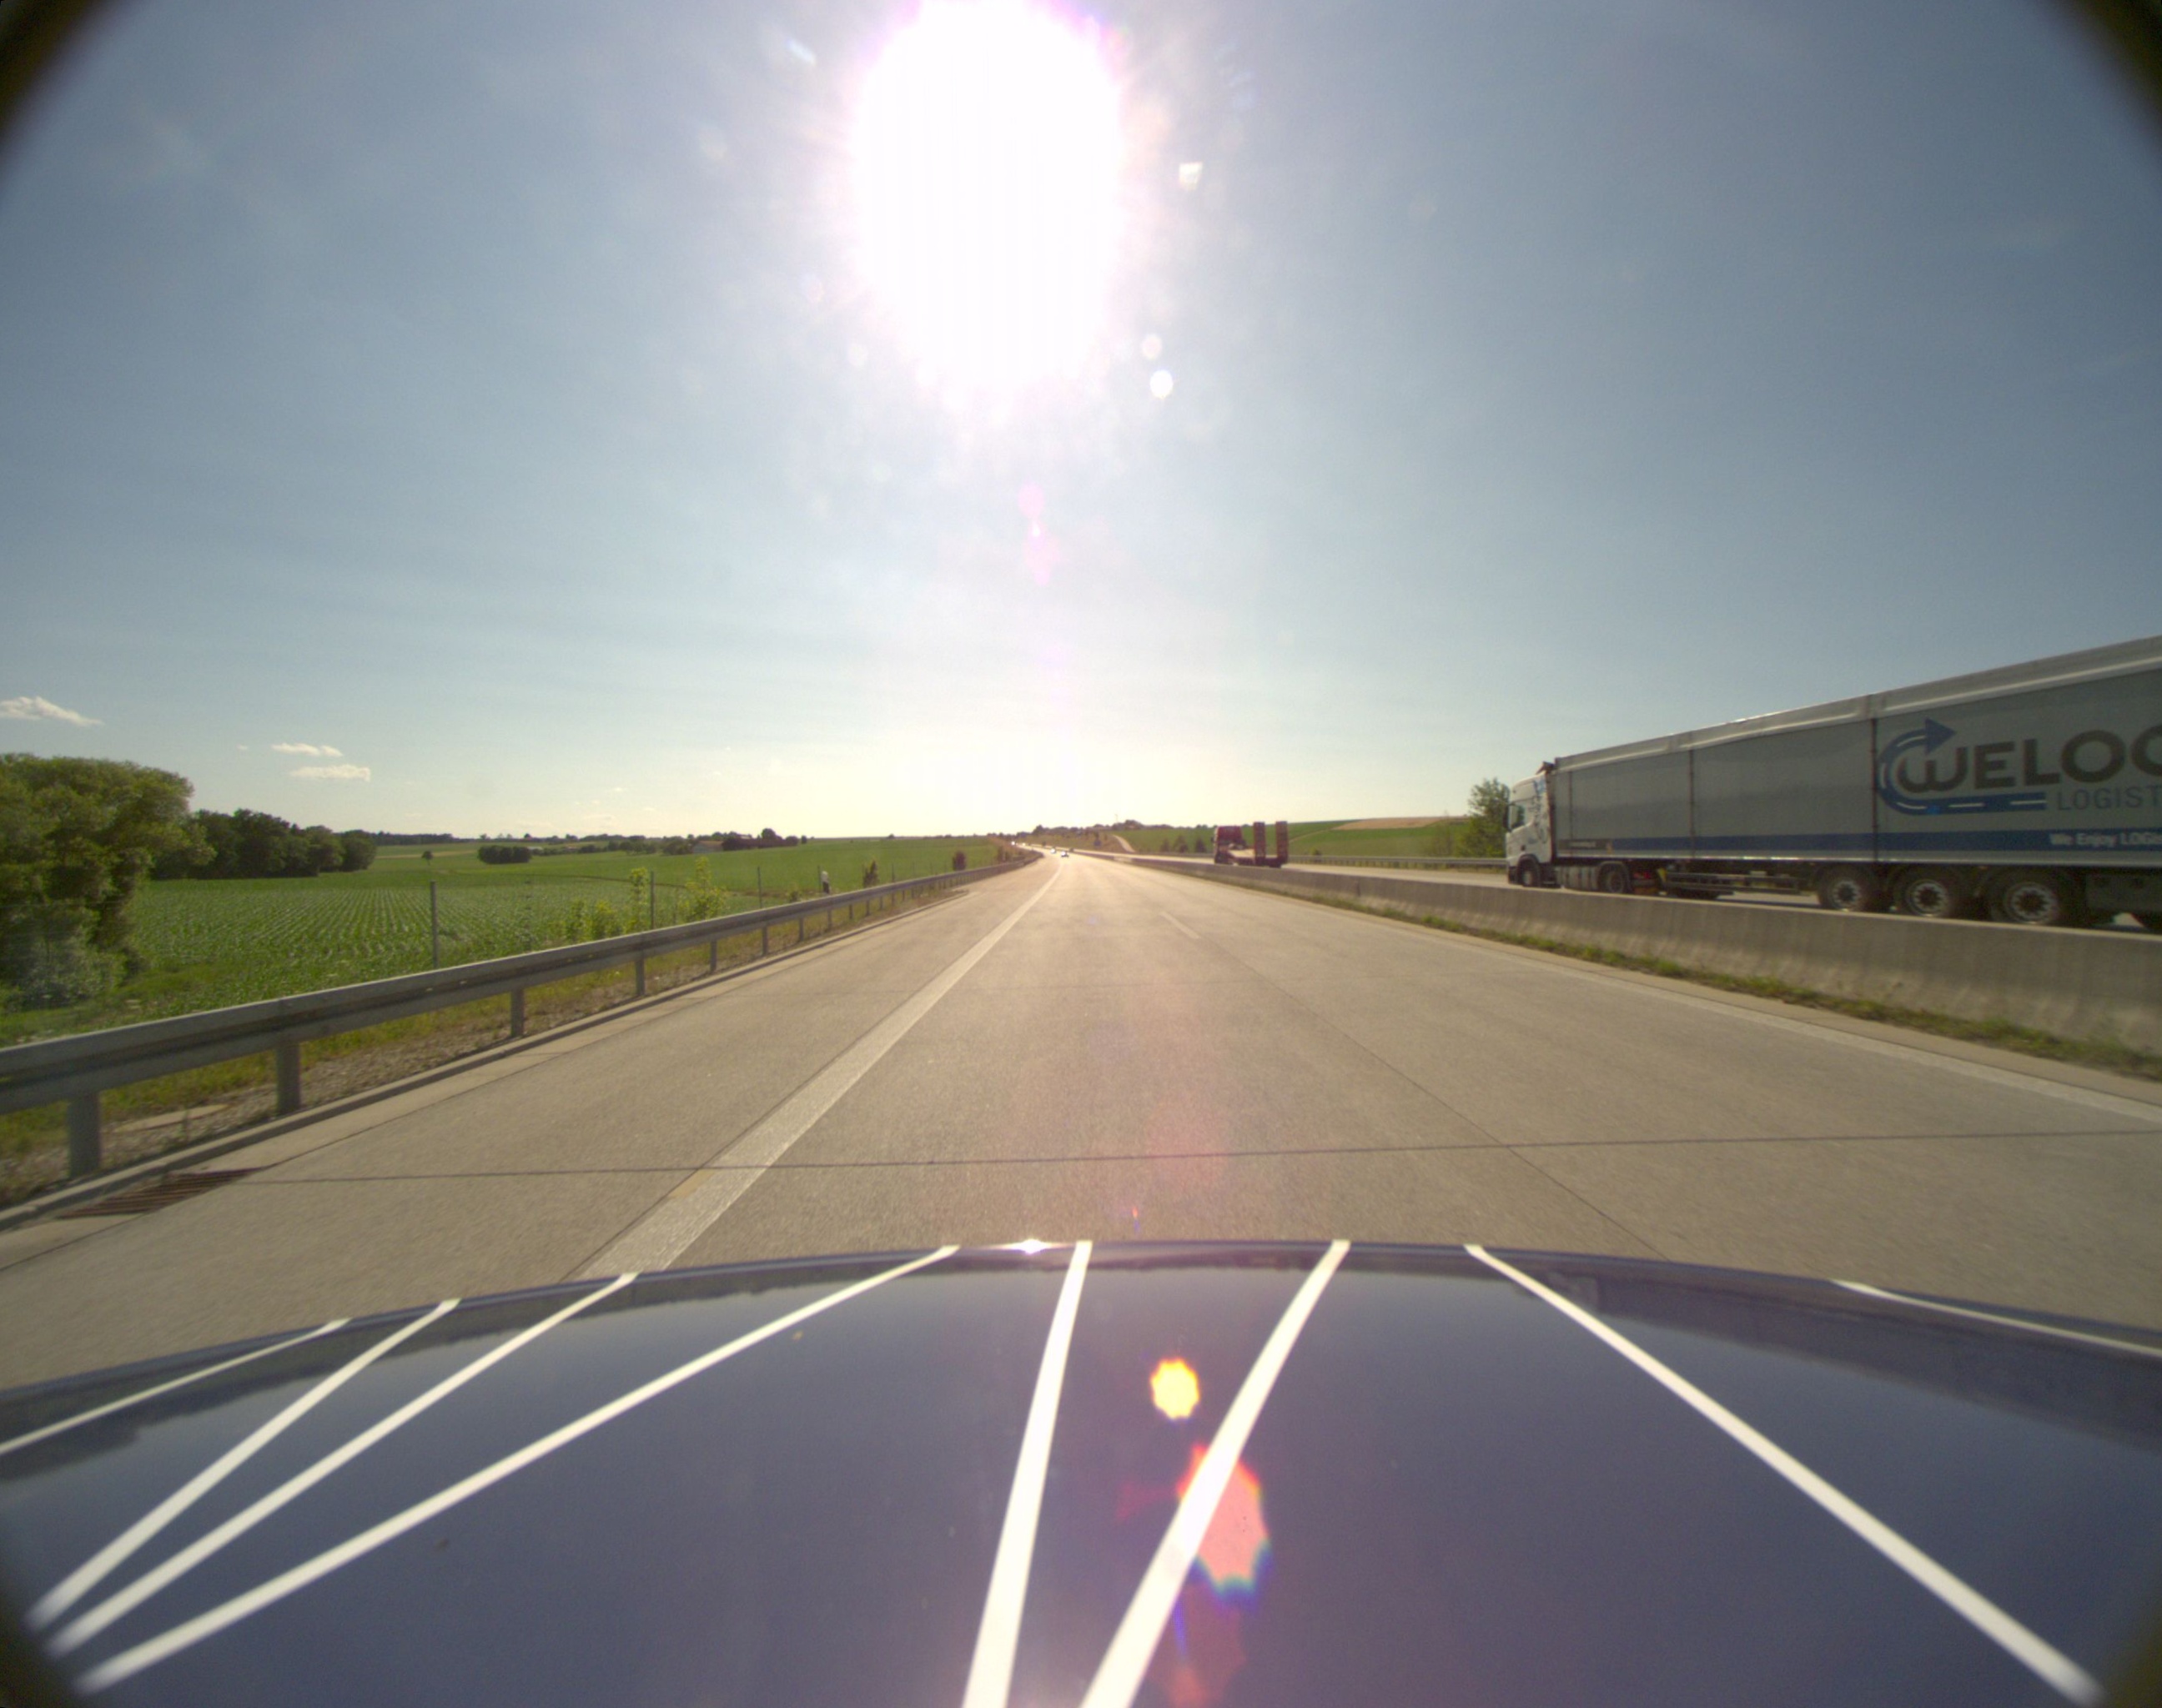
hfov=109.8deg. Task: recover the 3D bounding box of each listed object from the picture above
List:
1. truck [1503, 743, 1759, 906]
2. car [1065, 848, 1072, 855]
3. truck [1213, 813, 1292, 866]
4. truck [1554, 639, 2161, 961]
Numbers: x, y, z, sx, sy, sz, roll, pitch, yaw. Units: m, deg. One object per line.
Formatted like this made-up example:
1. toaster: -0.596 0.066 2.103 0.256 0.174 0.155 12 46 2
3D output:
1. truck: 14.877 -0.731 21.229 2.868 3.851 5.982 -1 1 1
2. car: -3.064 -0.639 185.862 1.715 1.580 4.626 -2 1 0
3. truck: 14.419 -1.172 65.777 2.875 3.992 17.112 -1 1 0
4. truck: 14.821 -0.737 14.633 2.867 3.985 13.866 -1 1 0
